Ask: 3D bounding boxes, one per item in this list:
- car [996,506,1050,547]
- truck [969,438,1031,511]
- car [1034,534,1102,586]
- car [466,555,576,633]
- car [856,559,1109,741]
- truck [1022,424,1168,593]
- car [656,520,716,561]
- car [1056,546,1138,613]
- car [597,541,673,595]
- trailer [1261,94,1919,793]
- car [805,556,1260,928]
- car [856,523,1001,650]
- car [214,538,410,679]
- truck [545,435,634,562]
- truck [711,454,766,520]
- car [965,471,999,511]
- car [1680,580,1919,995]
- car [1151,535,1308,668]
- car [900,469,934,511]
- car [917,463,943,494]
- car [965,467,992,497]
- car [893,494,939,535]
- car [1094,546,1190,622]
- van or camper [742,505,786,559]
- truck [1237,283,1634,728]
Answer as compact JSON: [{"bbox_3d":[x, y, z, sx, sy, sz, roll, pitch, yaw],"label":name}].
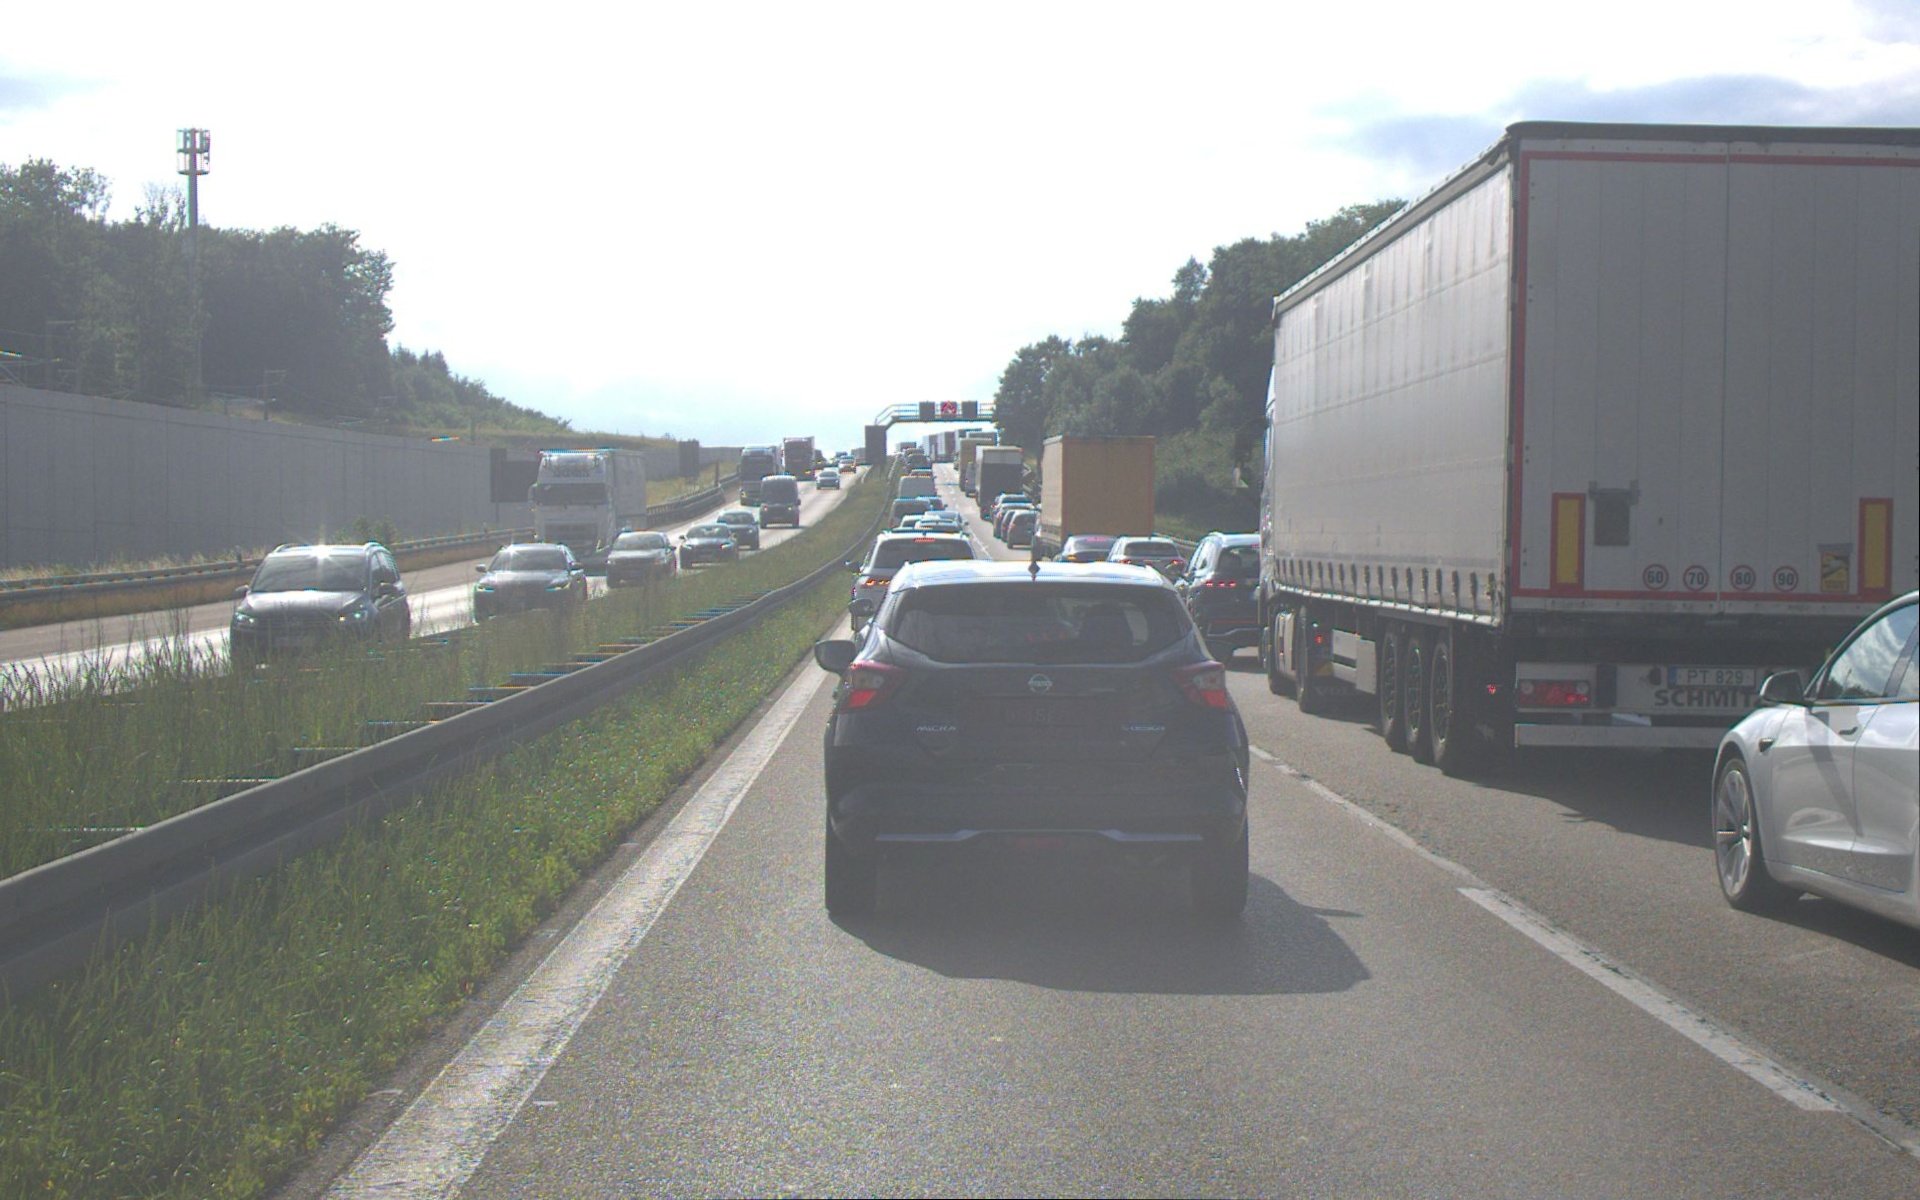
[{"bbox_3d":[2.588,-3.070,142.570,1.873,1.638,4.233,0,2,-4],"label":"car"},{"bbox_3d":[2.547,-8.206,225.050,3.464,4.561,12.443,1,2,-2],"label":"truck"},{"bbox_3d":[3.466,-1.316,111.184,1.873,1.638,4.233,0,1,-2],"label":"car"},{"bbox_3d":[-8.664,-0.130,68.147,1.697,1.494,4.427,0,1,-1],"label":"car"},{"bbox_3d":[0.153,0.349,27.674,1.873,1.353,4.232,0,1,0],"label":"car"},{"bbox_3d":[3.811,-2.527,100.132,3.296,4.562,12.441,1,0,-2],"label":"truck"},{"bbox_3d":[-9.288,-2.015,116.701,1.742,1.353,4.232,0,1,0],"label":"car"},{"bbox_3d":[3.434,-0.539,86.936,1.873,1.638,4.232,0,1,0],"label":"car"},{"bbox_3d":[-9.169,-0.905,97.121,1.769,1.474,3.829,0,0,0],"label":"car"},{"bbox_3d":[4.499,-0.875,26.480,3.130,3.997,13.366,1,0,0],"label":"trailer"},{"bbox_3d":[0.268,0.532,15.514,1.773,1.446,4.232,0,1,0],"label":"car"},{"bbox_3d":[-0.425,-0.202,46.520,1.873,1.638,4.232,0,1,0],"label":"car"},{"bbox_3d":[-8.276,0.082,44.219,1.781,1.731,4.102,0,1,0],"label":"car"},{"bbox_3d":[-12.544,-3.375,116.703,2.380,4.167,5.932,-1,0,-1],"label":"truck"},{"bbox_3d":[-15.716,-7.979,244.794,3.297,4.561,12.442,0,1,-1],"label":"truck"},{"bbox_3d":[1.267,-6.332,199.122,1.873,2.151,5.212,0,3,-1],"label":"car"},{"bbox_3d":[4.146,0.648,12.862,1.788,1.389,4.437,0,1,-2],"label":"car"},{"bbox_3d":[3.380,-0.004,43.779,1.697,1.605,4.437,0,1,1],"label":"car"},{"bbox_3d":[-2.364,-6.075,188.924,1.873,2.151,5.212,0,3,-1],"label":"car"},{"bbox_3d":[-2.208,-8.898,251.298,1.873,2.151,5.212,0,3,-1],"label":"car"},{"bbox_3d":[1.378,-8.741,254.336,1.873,2.151,5.212,0,3,-1],"label":"car"},{"bbox_3d":[-1.870,-3.618,144.938,1.873,1.638,4.233,0,2,-2],"label":"car"},{"bbox_3d":[4.047,-0.370,77.030,1.873,1.638,4.232,0,1,0],"label":"car"},{"bbox_3d":[-10.618,-3.649,186.618,2.090,2.810,5.896,1,0,-1],"label":"van or camper"},{"bbox_3d":[4.518,-0.854,33.729,3.133,4.002,5.163,1,0,0],"label":"truck"}]
